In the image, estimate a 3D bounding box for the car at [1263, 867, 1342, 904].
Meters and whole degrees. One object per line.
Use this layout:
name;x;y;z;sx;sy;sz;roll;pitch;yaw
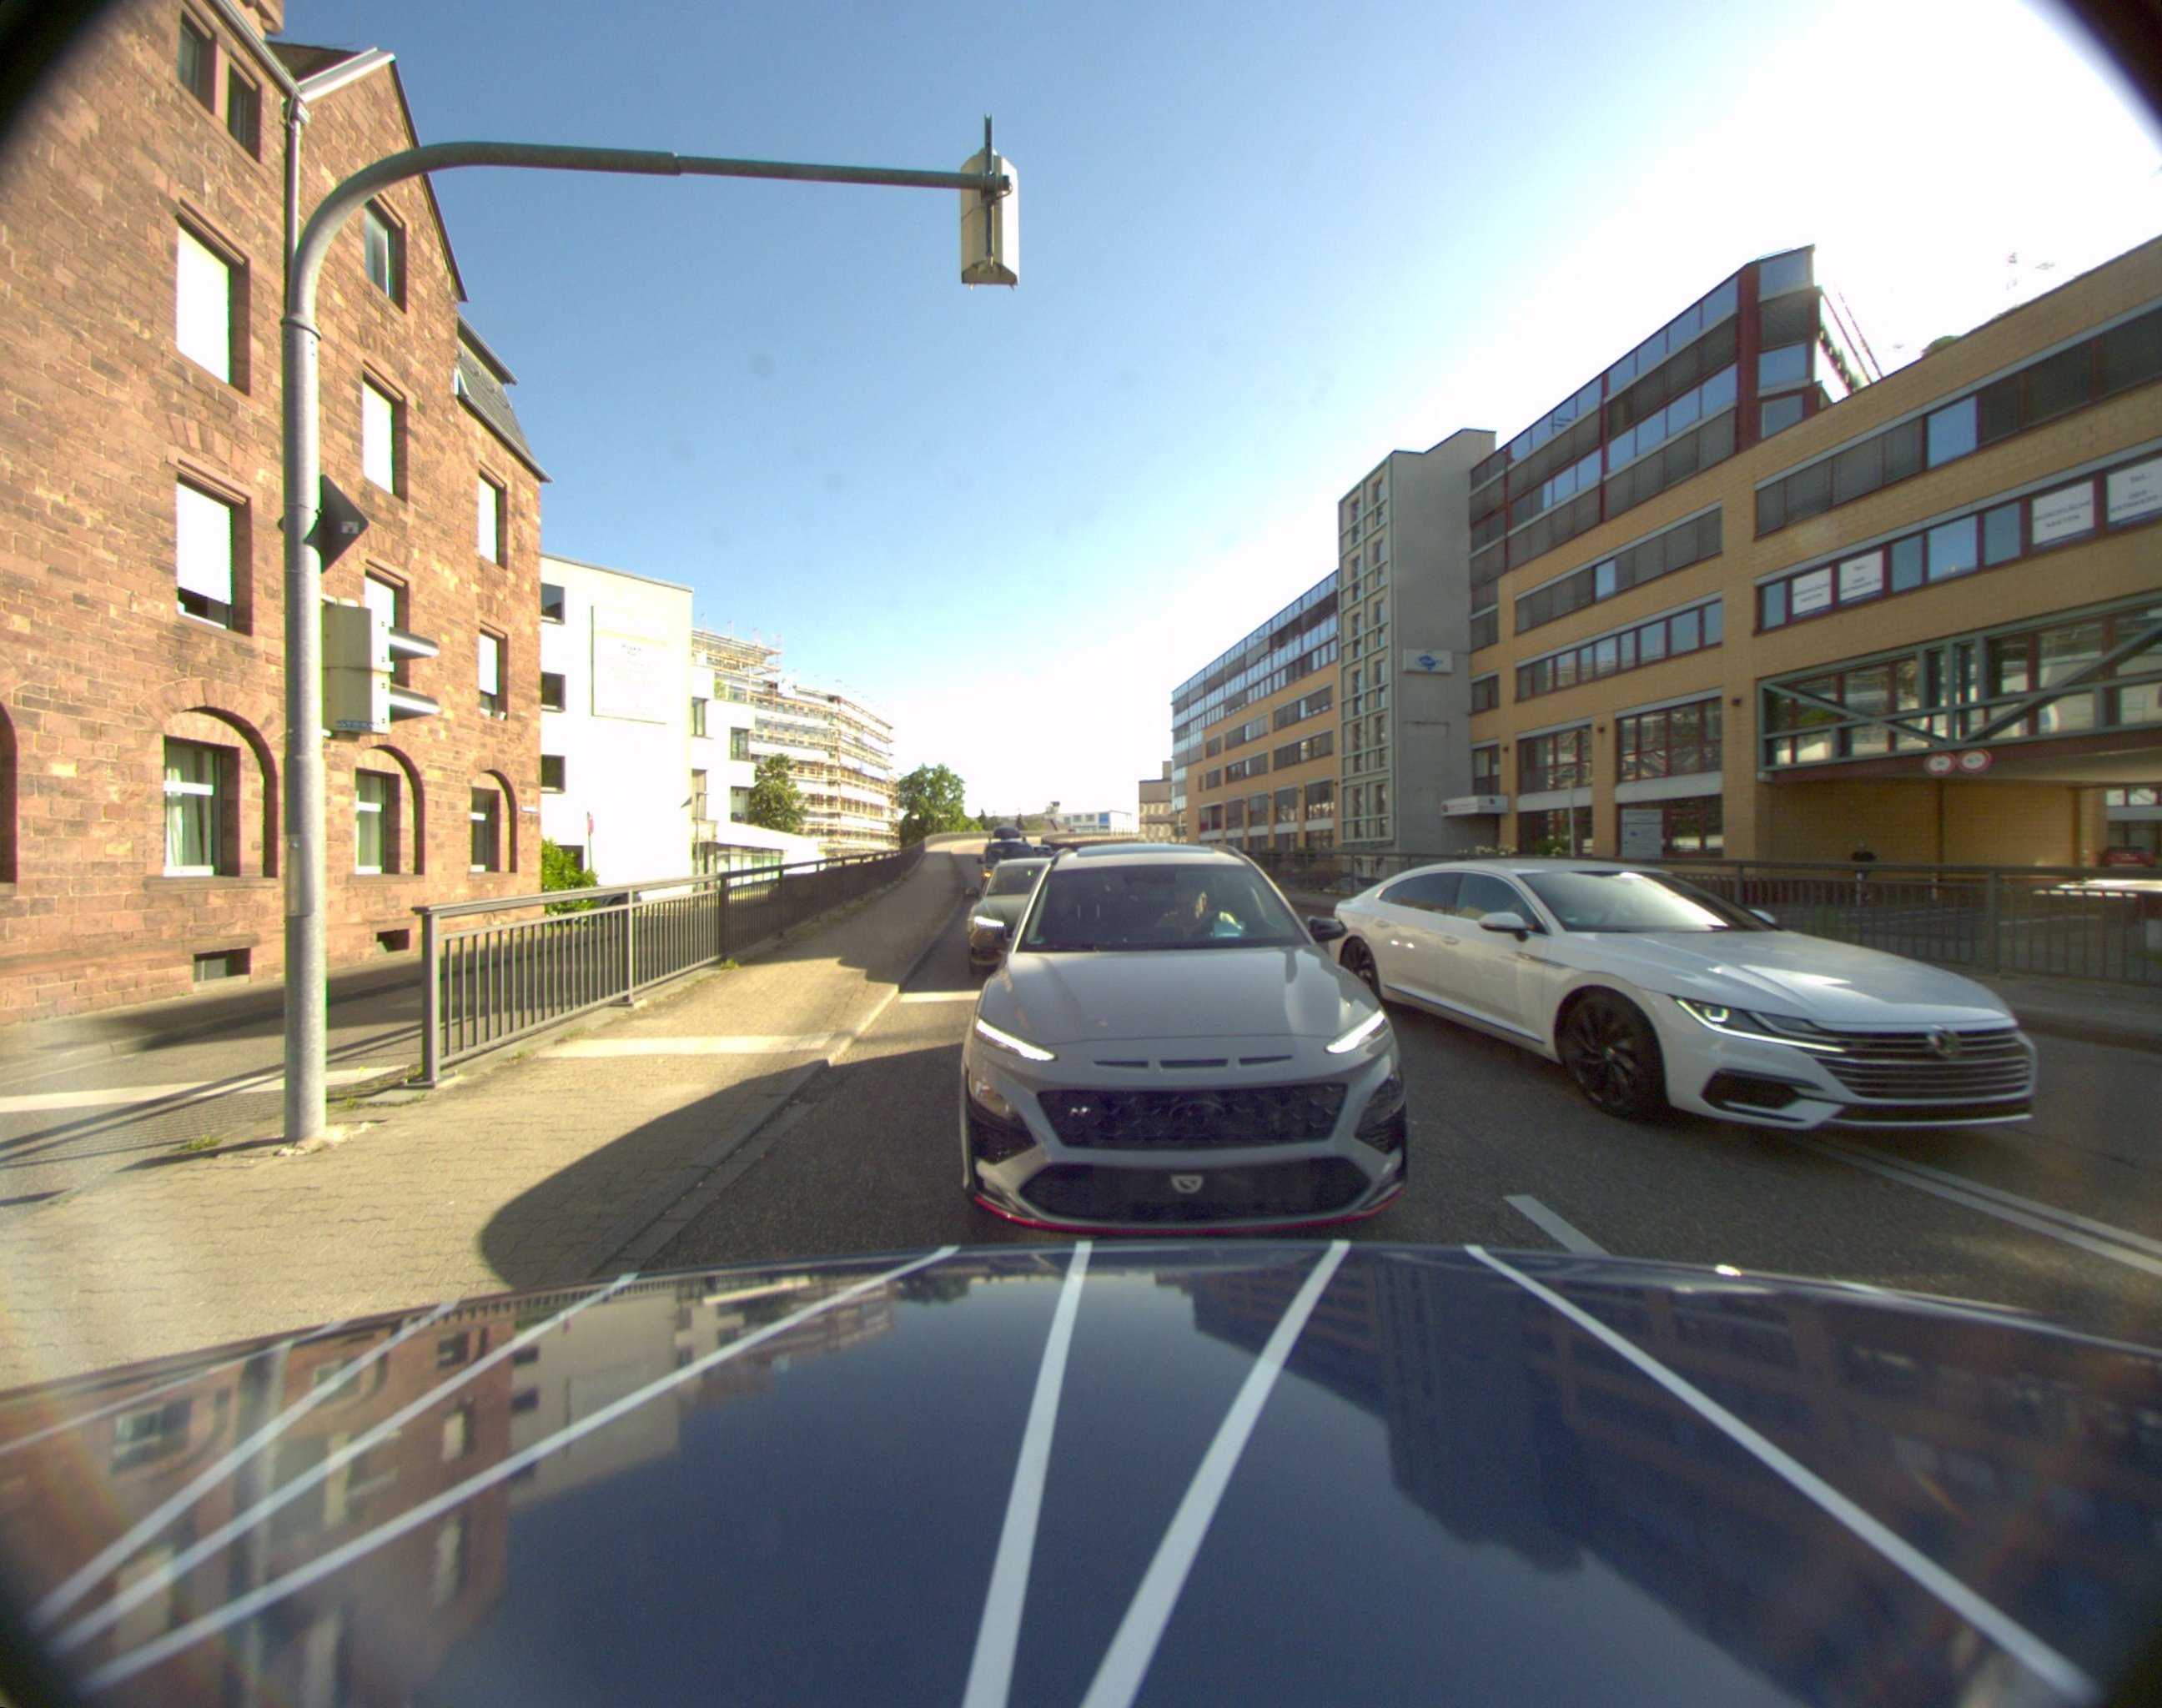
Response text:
car;10.313;1.426;35.765;1.826;1.594;4.353;0;0;-10

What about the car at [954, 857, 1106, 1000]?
car;-0.699;0.861;10.835;1.721;1.483;4.166;-1;2;-3

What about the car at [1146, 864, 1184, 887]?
car;6.389;1.610;57.958;2.000;1.652;3.997;0;0;-7

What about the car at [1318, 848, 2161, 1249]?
car;3.570;0.775;5.430;1.850;1.527;4.504;-1;2;-8

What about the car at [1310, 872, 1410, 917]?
car;11.093;1.568;30.590;1.826;1.594;4.353;0;0;-10

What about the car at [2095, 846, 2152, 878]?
car;53.706;0.398;39.198;3.159;1.564;1.639;0;-1;-38

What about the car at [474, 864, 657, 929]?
car;-16.972;1.307;25.210;1.823;1.757;4.658;1;2;42

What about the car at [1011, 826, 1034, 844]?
car;-5.542;-1.776;71.253;1.839;1.644;4.624;0;1;-8

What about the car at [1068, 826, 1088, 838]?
car;-0.530;-4.167;143.975;1.995;1.924;4.860;0;0;23

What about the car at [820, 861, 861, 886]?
car;-15.518;1.246;49.165;1.850;1.526;3.997;0;0;-7

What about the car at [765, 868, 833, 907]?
car;-13.036;1.500;35.417;1.850;1.422;4.678;-1;2;-6

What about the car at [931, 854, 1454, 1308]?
car;0.440;0.824;4.833;1.849;1.561;4.220;-1;1;1

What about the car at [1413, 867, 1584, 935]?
car;12.412;1.310;23.008;1.957;1.747;4.683;-1;0;-11

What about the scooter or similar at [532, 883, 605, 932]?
scooter or similar;-14.266;1.478;21.194;1.463;1.212;0.784;-3;1;-14

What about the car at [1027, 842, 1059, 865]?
car;-2.616;-0.017;51.721;1.692;1.448;3.910;-1;0;-10

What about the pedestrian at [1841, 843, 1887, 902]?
pedestrian;24.658;0.586;23.941;0.787;1.833;0.678;0;0;-12

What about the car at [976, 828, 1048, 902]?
car;-2.358;0.275;24.998;1.911;2.201;4.593;0;2;-11
